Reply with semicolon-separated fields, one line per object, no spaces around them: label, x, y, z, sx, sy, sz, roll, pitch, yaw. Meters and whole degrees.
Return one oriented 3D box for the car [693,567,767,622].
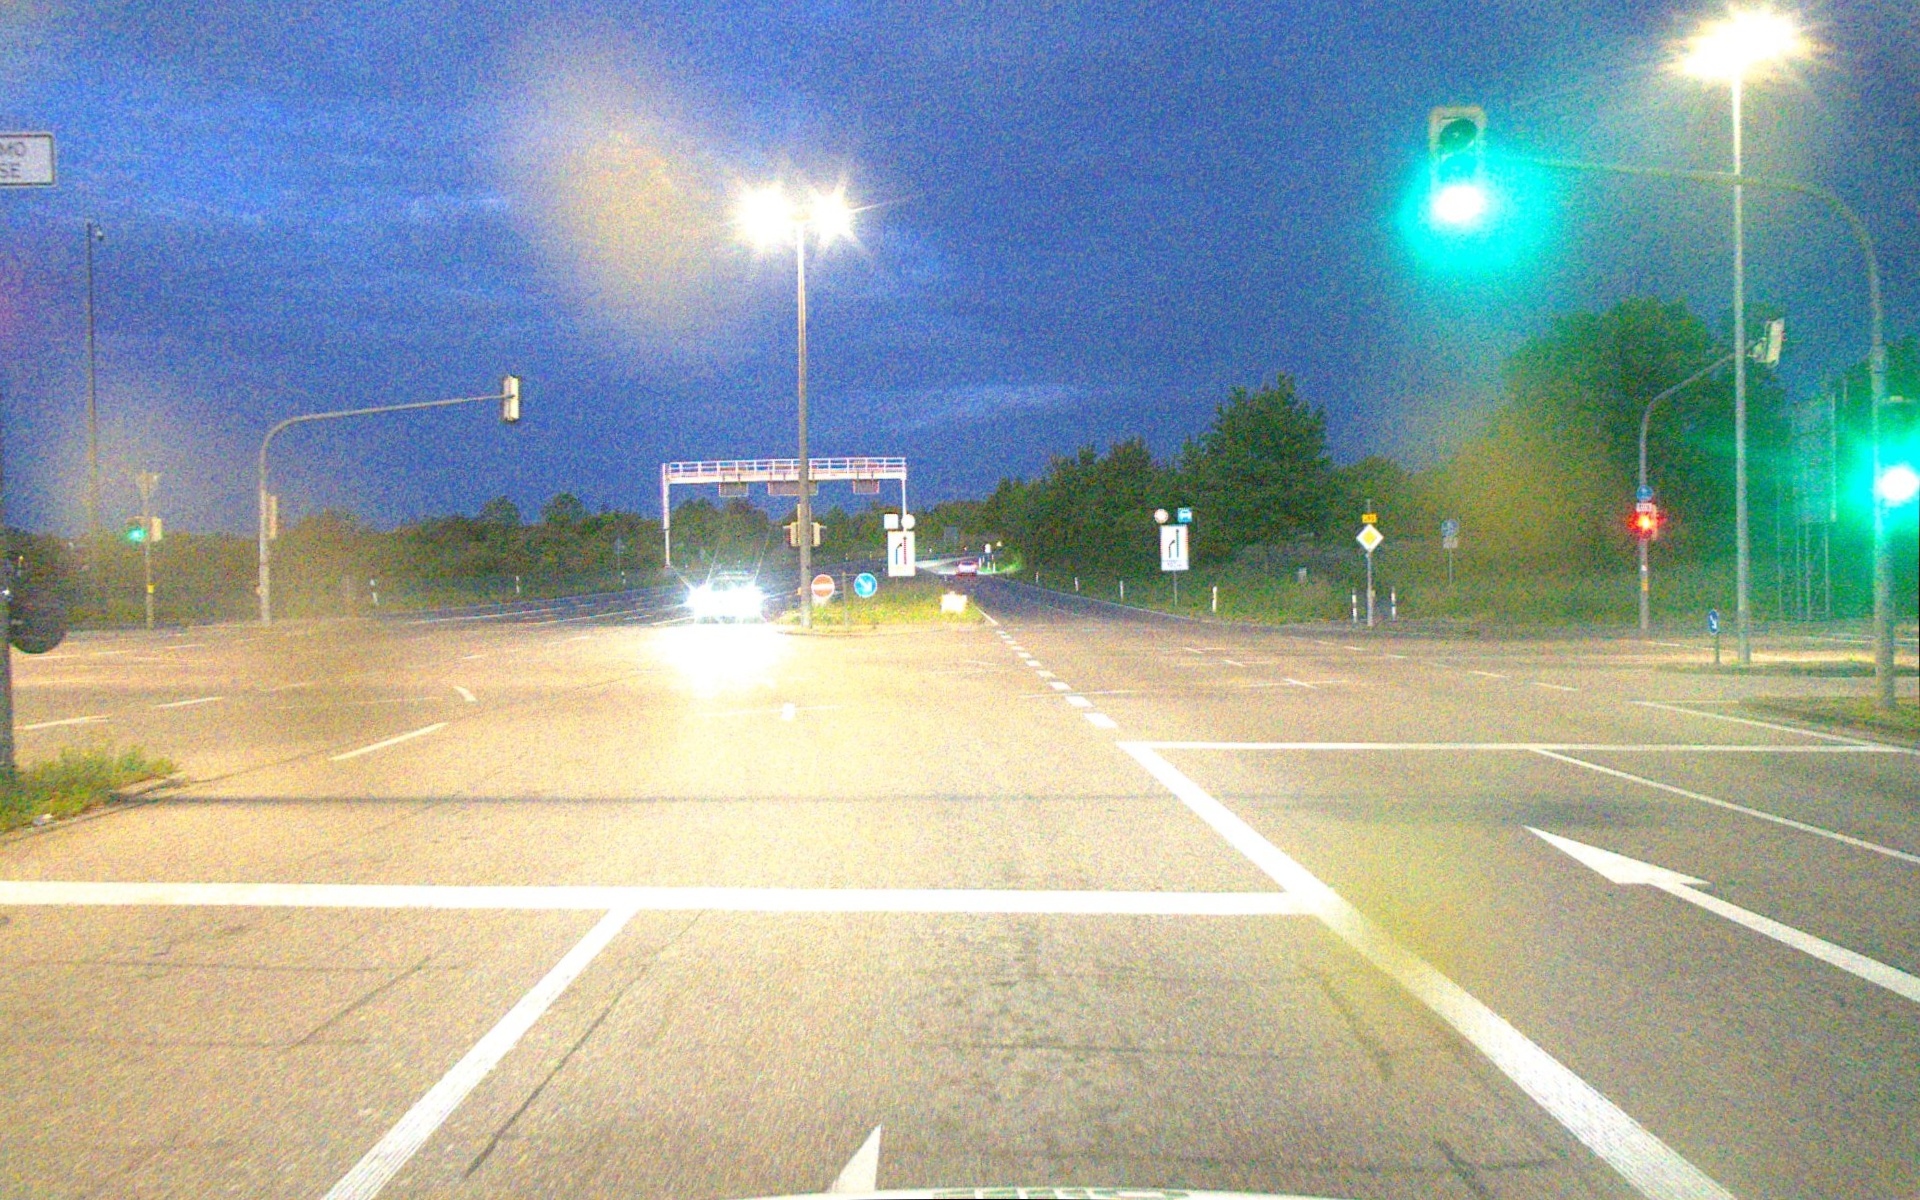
car;-7.388;-0.201;53.532;1.953;1.728;3.999;0;1;-2

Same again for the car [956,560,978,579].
car;0.684;-2.905;157.246;1.966;1.638;3.847;0;2;1
